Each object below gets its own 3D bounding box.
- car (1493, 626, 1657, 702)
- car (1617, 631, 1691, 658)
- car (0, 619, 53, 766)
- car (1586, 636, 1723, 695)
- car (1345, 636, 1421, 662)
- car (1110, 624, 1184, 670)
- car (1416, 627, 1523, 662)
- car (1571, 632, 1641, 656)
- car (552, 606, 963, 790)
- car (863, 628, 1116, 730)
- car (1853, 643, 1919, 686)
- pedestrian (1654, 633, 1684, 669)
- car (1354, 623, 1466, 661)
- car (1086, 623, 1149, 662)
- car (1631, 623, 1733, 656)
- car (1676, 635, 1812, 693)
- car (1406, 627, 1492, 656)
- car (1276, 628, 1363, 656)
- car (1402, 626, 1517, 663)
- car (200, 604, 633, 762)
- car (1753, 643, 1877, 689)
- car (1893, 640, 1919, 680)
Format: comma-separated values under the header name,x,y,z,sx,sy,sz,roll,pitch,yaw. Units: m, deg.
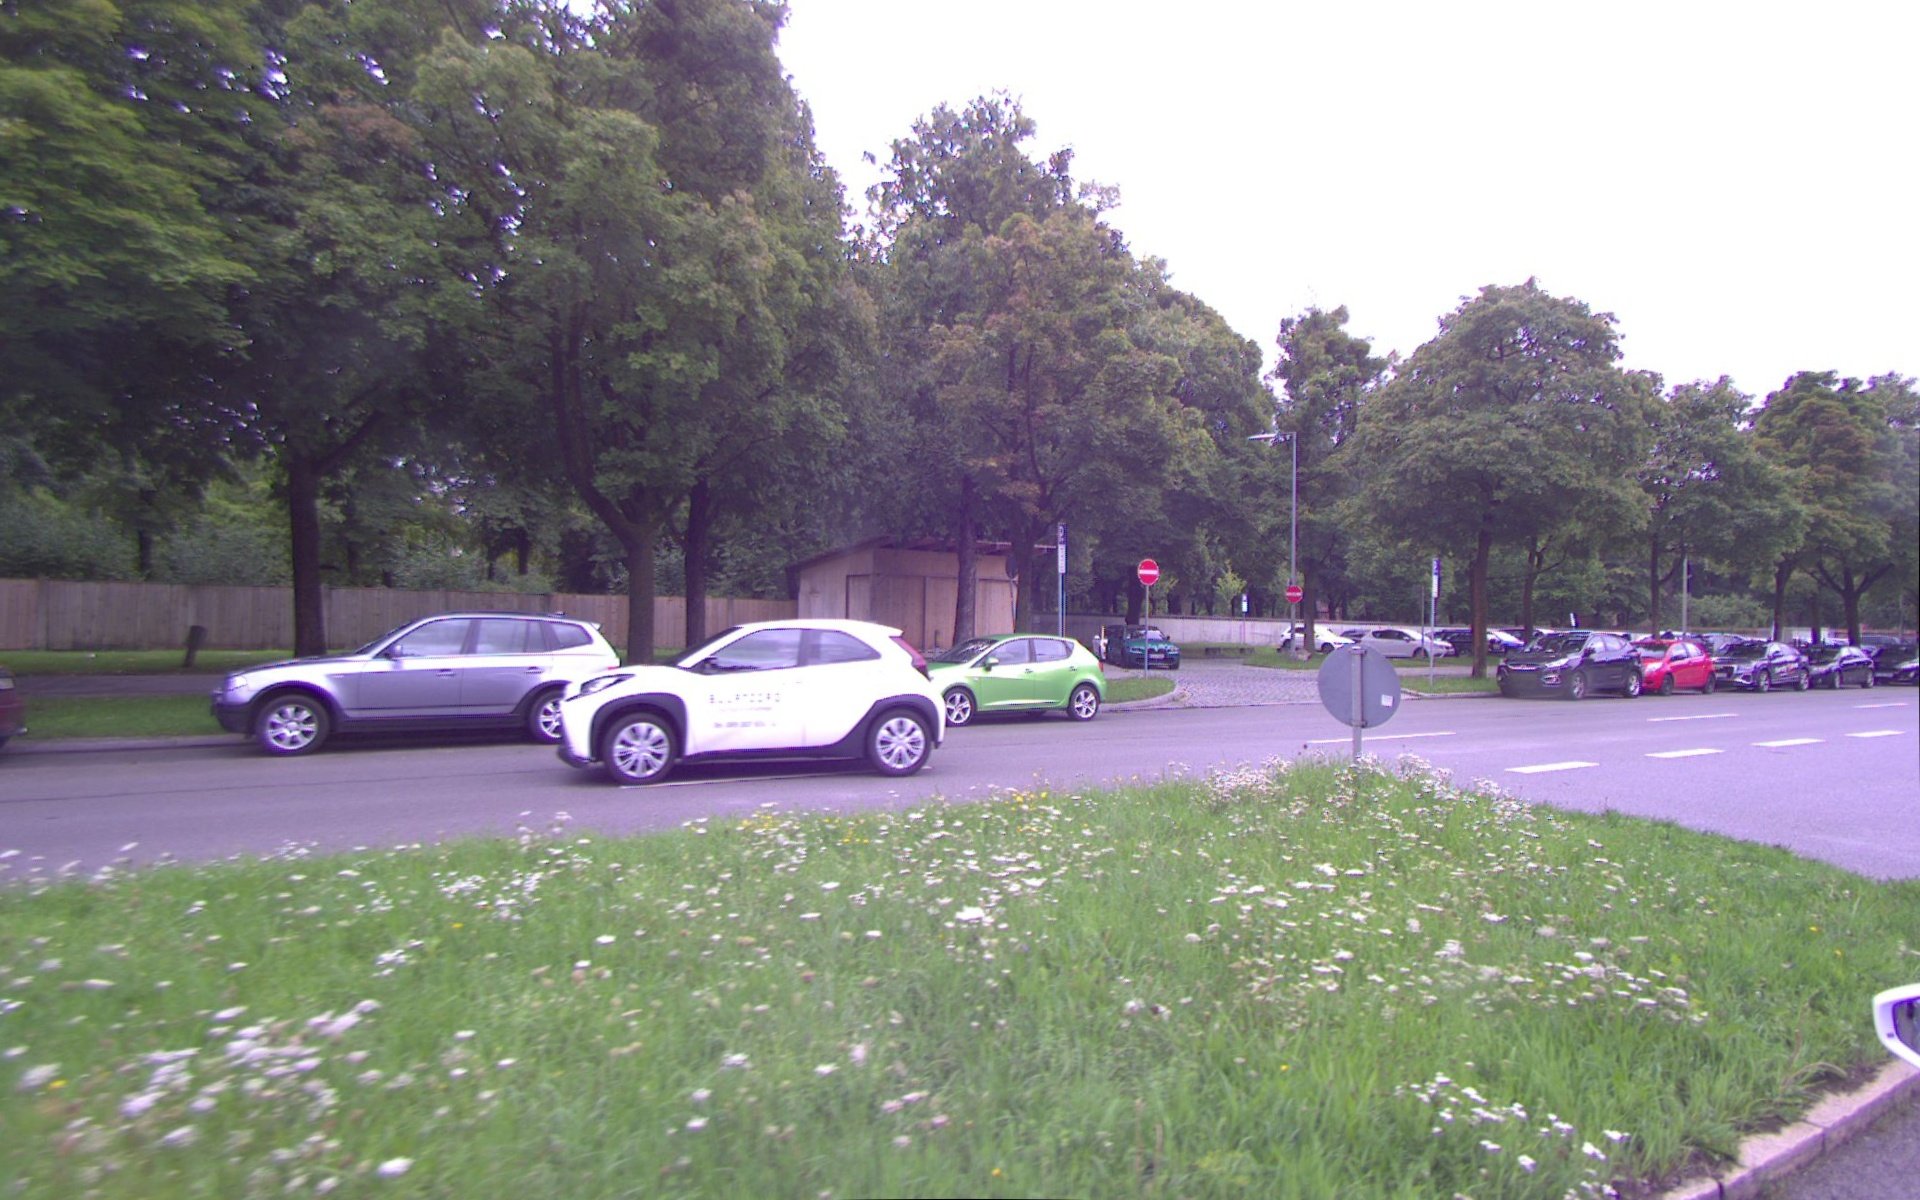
name,x,y,z,sx,sy,sz,roll,pitch,yaw
car,15.514,1.603,25.290,4.192,1.722,1.812,3,-2,-32
car,55.837,3.559,80.908,1.977,2.061,4.484,2,-1,-30
car,-11.295,0.897,9.536,3.643,1.440,1.643,2,-3,-30
car,19.465,1.823,28.130,3.768,1.499,1.812,3,-2,-32
car,25.027,2.876,59.586,1.852,1.391,3.975,2,-1,-25
car,6.342,1.555,34.411,1.822,1.428,3.860,1,-1,1
car,23.453,2.032,46.322,1.980,1.461,3.960,2,-1,-35
car,47.277,3.189,73.592,1.746,1.617,3.975,2,-1,-25
car,-1.997,0.892,10.038,3.661,1.574,1.820,2,-1,-18
car,0.521,1.247,16.644,3.952,1.519,1.633,1,-3,-30
car,34.084,2.312,36.312,3.960,1.466,1.810,2,-3,-35
pedestrian,30.479,2.167,43.188,0.846,1.515,0.791,1,-1,-30
car,19.172,1.766,42.917,1.980,1.461,3.960,2,-1,-35
car,6.260,1.652,40.345,1.822,1.428,4.470,1,-1,1
car,37.739,2.058,52.598,1.792,1.591,3.971,2,-1,-28
car,23.738,1.902,30.385,4.063,1.620,1.813,2,-1,-29
car,30.152,2.557,62.083,1.977,1.647,4.484,2,-1,-30
car,20.641,2.396,57.837,1.977,1.461,4.484,2,-1,-30
car,21.879,1.941,44.146,1.978,1.461,4.112,2,-1,-32
car,-6.527,0.948,12.480,4.405,1.652,1.813,2,-2,-31
car,28.361,2.155,33.317,3.950,1.428,1.814,2,-3,-28
car,38.406,2.374,39.225,4.251,1.547,1.812,3,-3,-32
